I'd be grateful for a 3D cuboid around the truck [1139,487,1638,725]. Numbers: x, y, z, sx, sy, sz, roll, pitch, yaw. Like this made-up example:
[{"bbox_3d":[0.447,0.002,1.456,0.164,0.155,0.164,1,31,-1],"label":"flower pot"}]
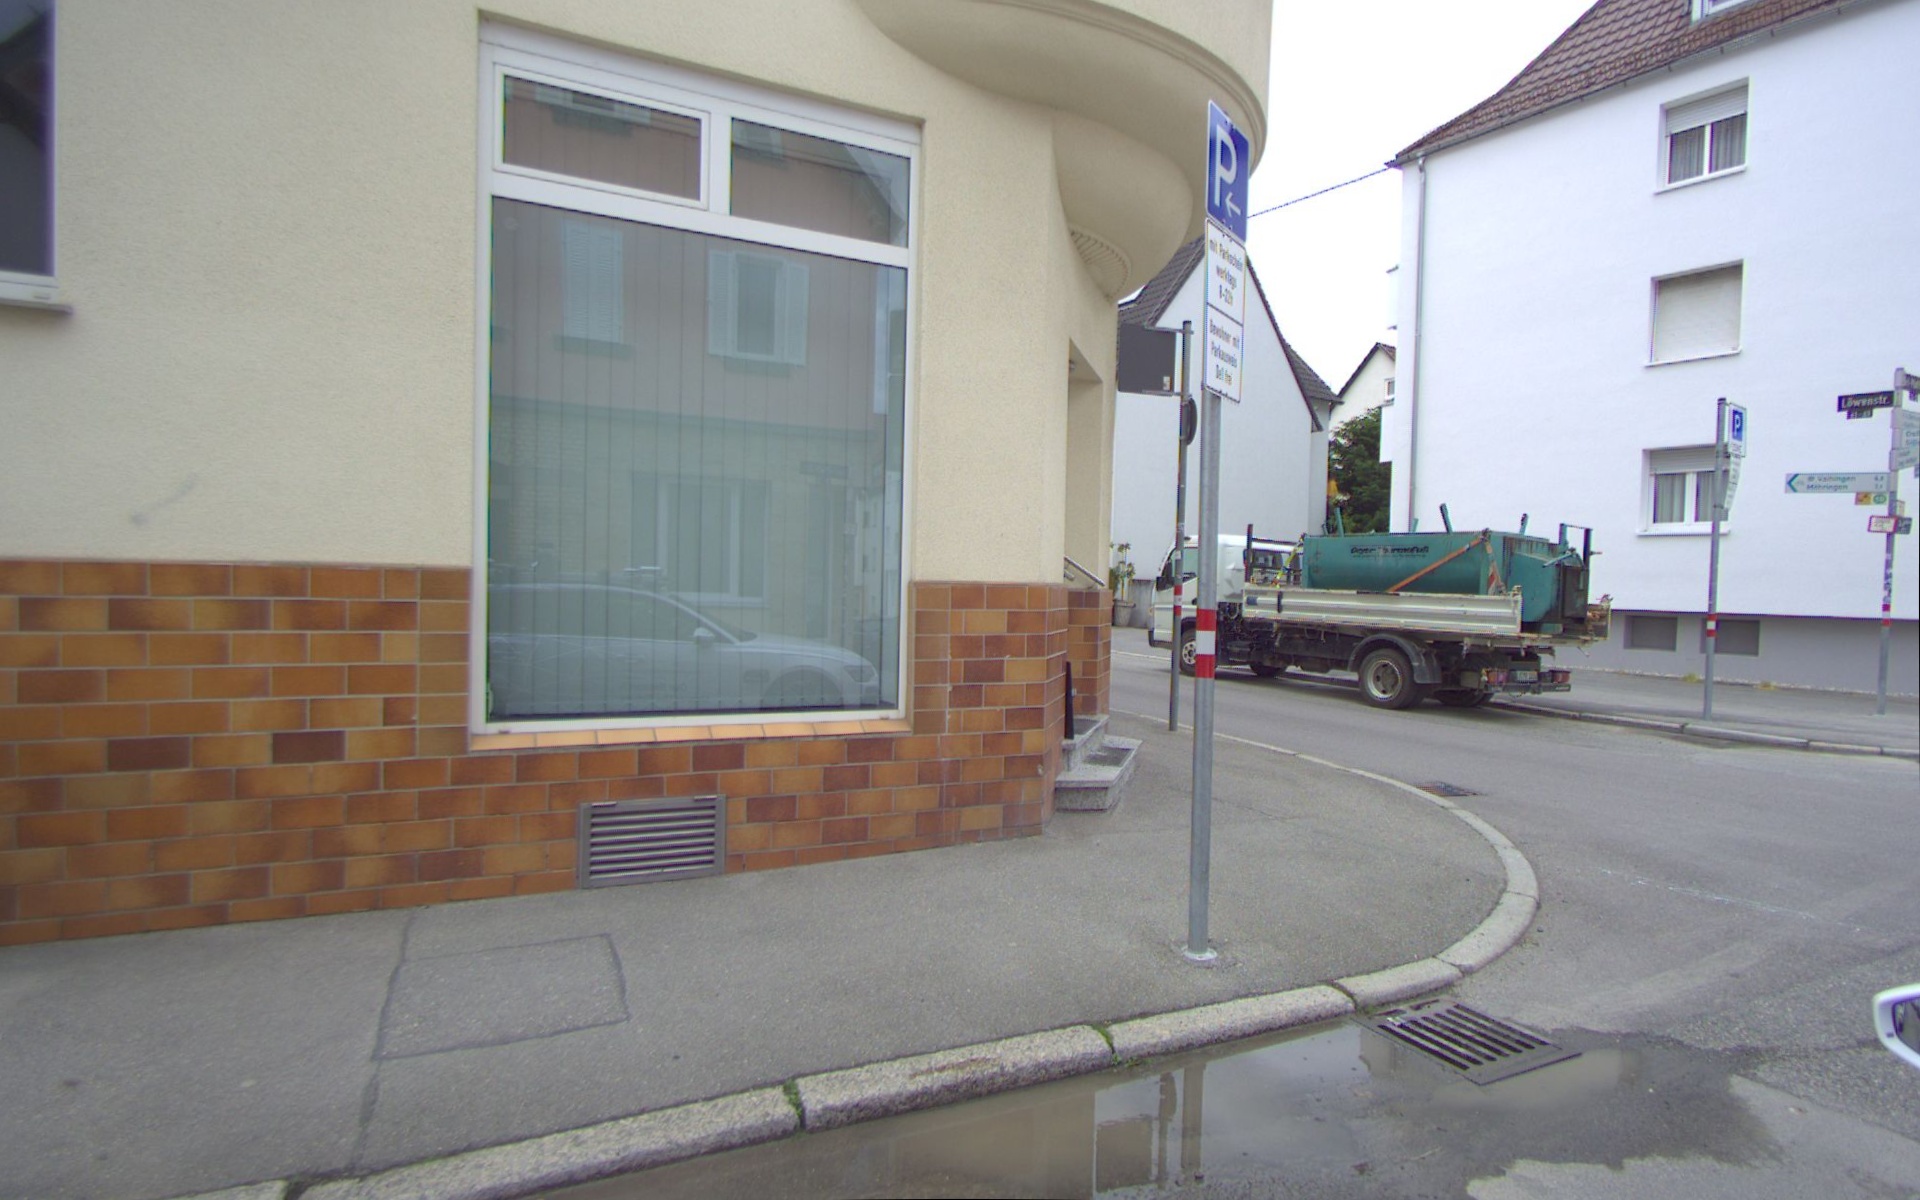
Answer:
[{"bbox_3d":[5.547,0.021,14.185,2.293,2.586,6.231,2,0,-32],"label":"truck"}]
